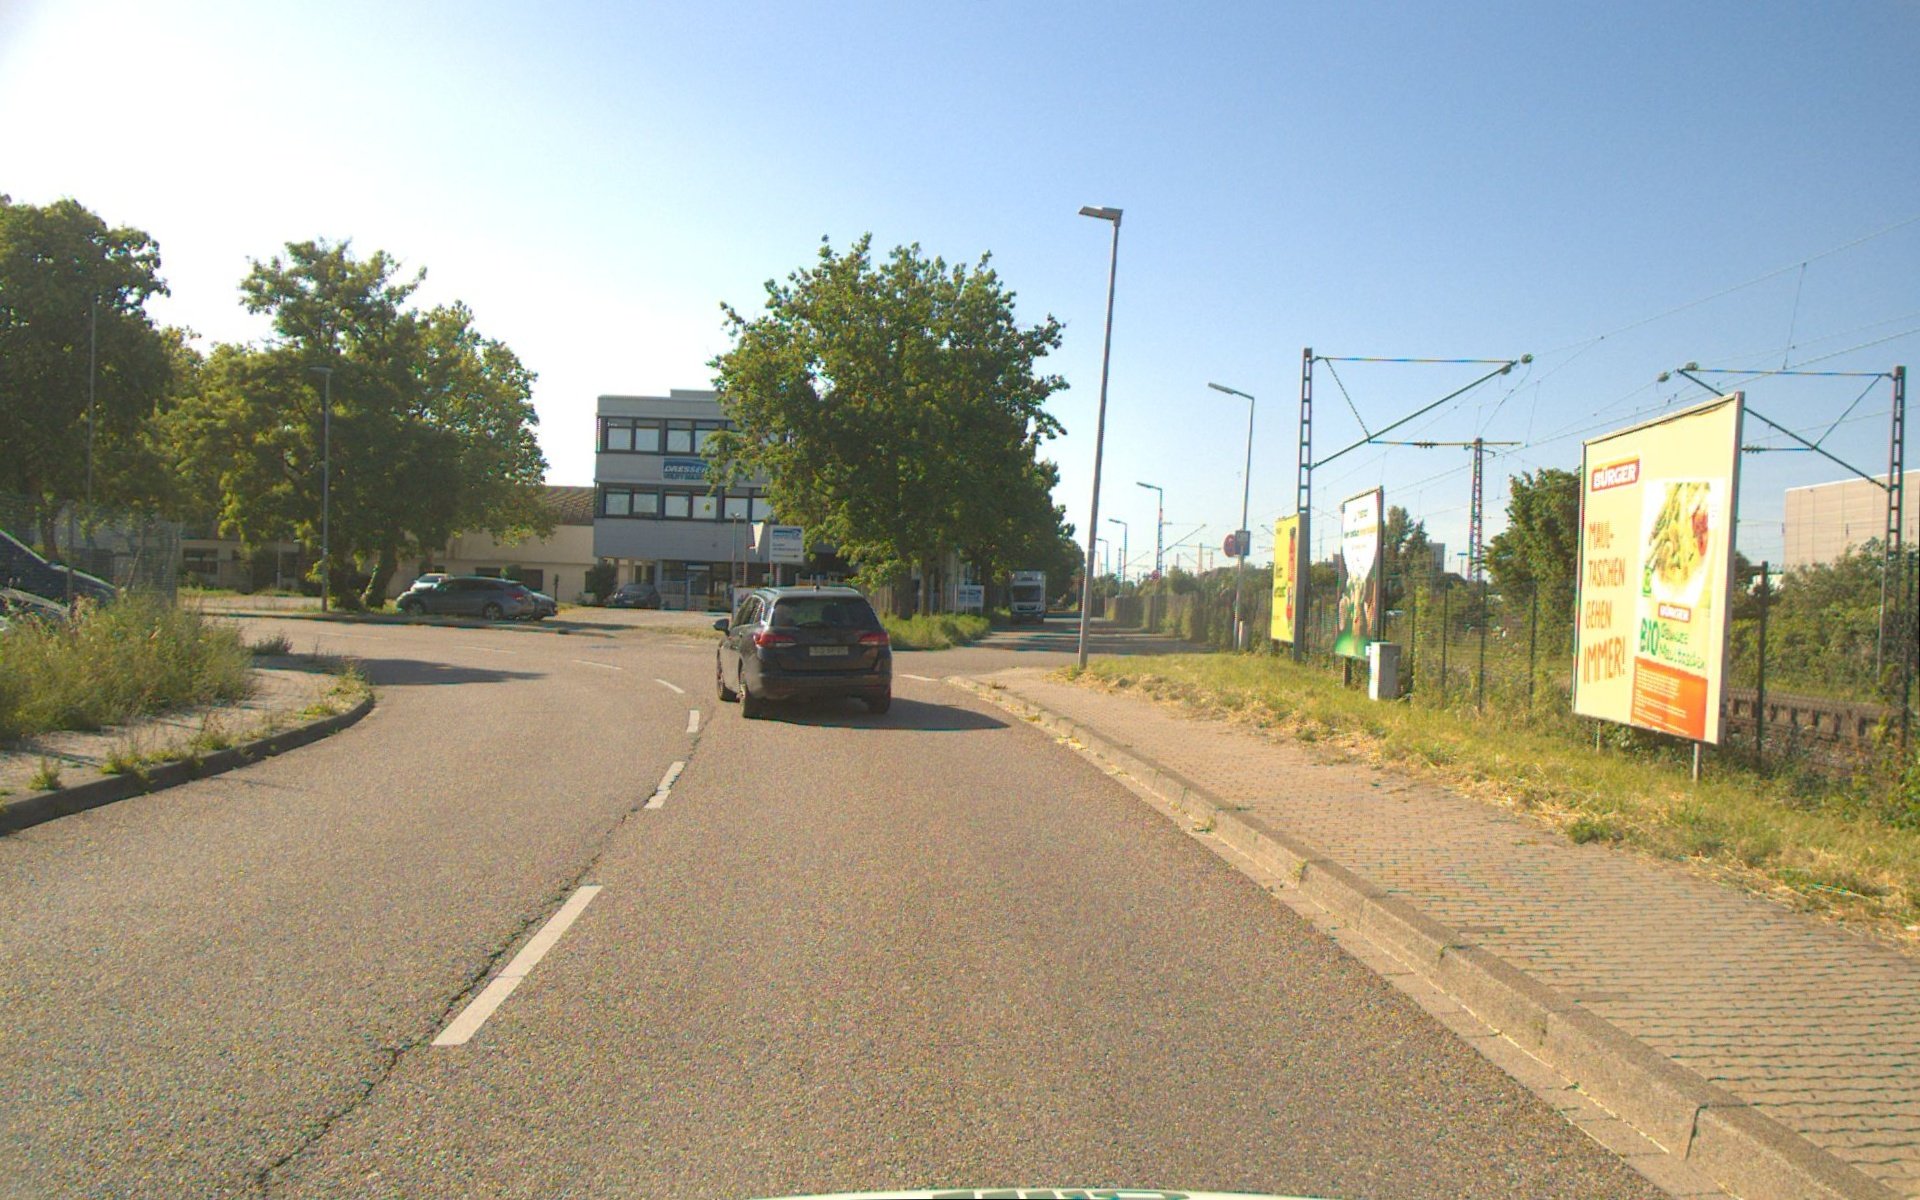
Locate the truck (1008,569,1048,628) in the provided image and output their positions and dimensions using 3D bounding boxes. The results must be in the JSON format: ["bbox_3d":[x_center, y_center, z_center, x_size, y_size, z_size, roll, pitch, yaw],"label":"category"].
[{"bbox_3d":[4.893,-0.073,121.070,2.559,3.953,13.534,3,0,1],"label":"truck"}]

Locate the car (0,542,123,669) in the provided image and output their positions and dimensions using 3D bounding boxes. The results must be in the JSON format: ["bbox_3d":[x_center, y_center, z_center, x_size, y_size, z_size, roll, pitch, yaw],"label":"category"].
[{"bbox_3d":[-12.284,0.021,19.265,4.350,1.461,1.819,2,0,-34],"label":"car"}]

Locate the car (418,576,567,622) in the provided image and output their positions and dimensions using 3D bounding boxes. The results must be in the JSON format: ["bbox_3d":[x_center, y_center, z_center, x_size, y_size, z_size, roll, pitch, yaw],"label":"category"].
[{"bbox_3d":[-17.059,-0.033,60.451,4.808,1.510,2.001,2,0,3],"label":"car"}]

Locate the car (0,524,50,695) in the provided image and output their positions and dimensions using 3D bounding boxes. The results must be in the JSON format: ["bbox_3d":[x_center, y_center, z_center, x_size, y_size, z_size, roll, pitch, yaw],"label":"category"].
[{"bbox_3d":[-11.730,0.017,16.474,4.321,1.677,1.831,2,0,-18],"label":"car"}]

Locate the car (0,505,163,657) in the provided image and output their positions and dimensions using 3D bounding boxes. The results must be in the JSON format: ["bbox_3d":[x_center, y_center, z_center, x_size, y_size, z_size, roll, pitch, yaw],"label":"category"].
[{"bbox_3d":[-13.118,-0.279,21.463,4.790,1.925,1.820,2,0,-33],"label":"car"}]

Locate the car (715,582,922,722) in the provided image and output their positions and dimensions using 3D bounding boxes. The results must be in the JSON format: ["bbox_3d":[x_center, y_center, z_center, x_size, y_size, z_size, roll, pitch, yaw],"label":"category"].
[{"bbox_3d":[-1.874,0.548,20.477,1.909,1.514,4.550,0,1,-13],"label":"car"}]

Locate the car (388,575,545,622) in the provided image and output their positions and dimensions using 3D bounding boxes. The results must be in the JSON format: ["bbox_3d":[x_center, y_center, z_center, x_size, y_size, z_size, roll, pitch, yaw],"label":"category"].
[{"bbox_3d":[-17.210,-0.053,57.851,4.808,1.451,2.001,2,0,3],"label":"car"}]

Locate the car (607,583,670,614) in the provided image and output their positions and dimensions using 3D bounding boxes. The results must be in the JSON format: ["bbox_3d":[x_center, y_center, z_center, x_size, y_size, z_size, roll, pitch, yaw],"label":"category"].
[{"bbox_3d":[-17.323,-0.115,89.429,1.951,1.510,4.930,2,1,6],"label":"car"}]
